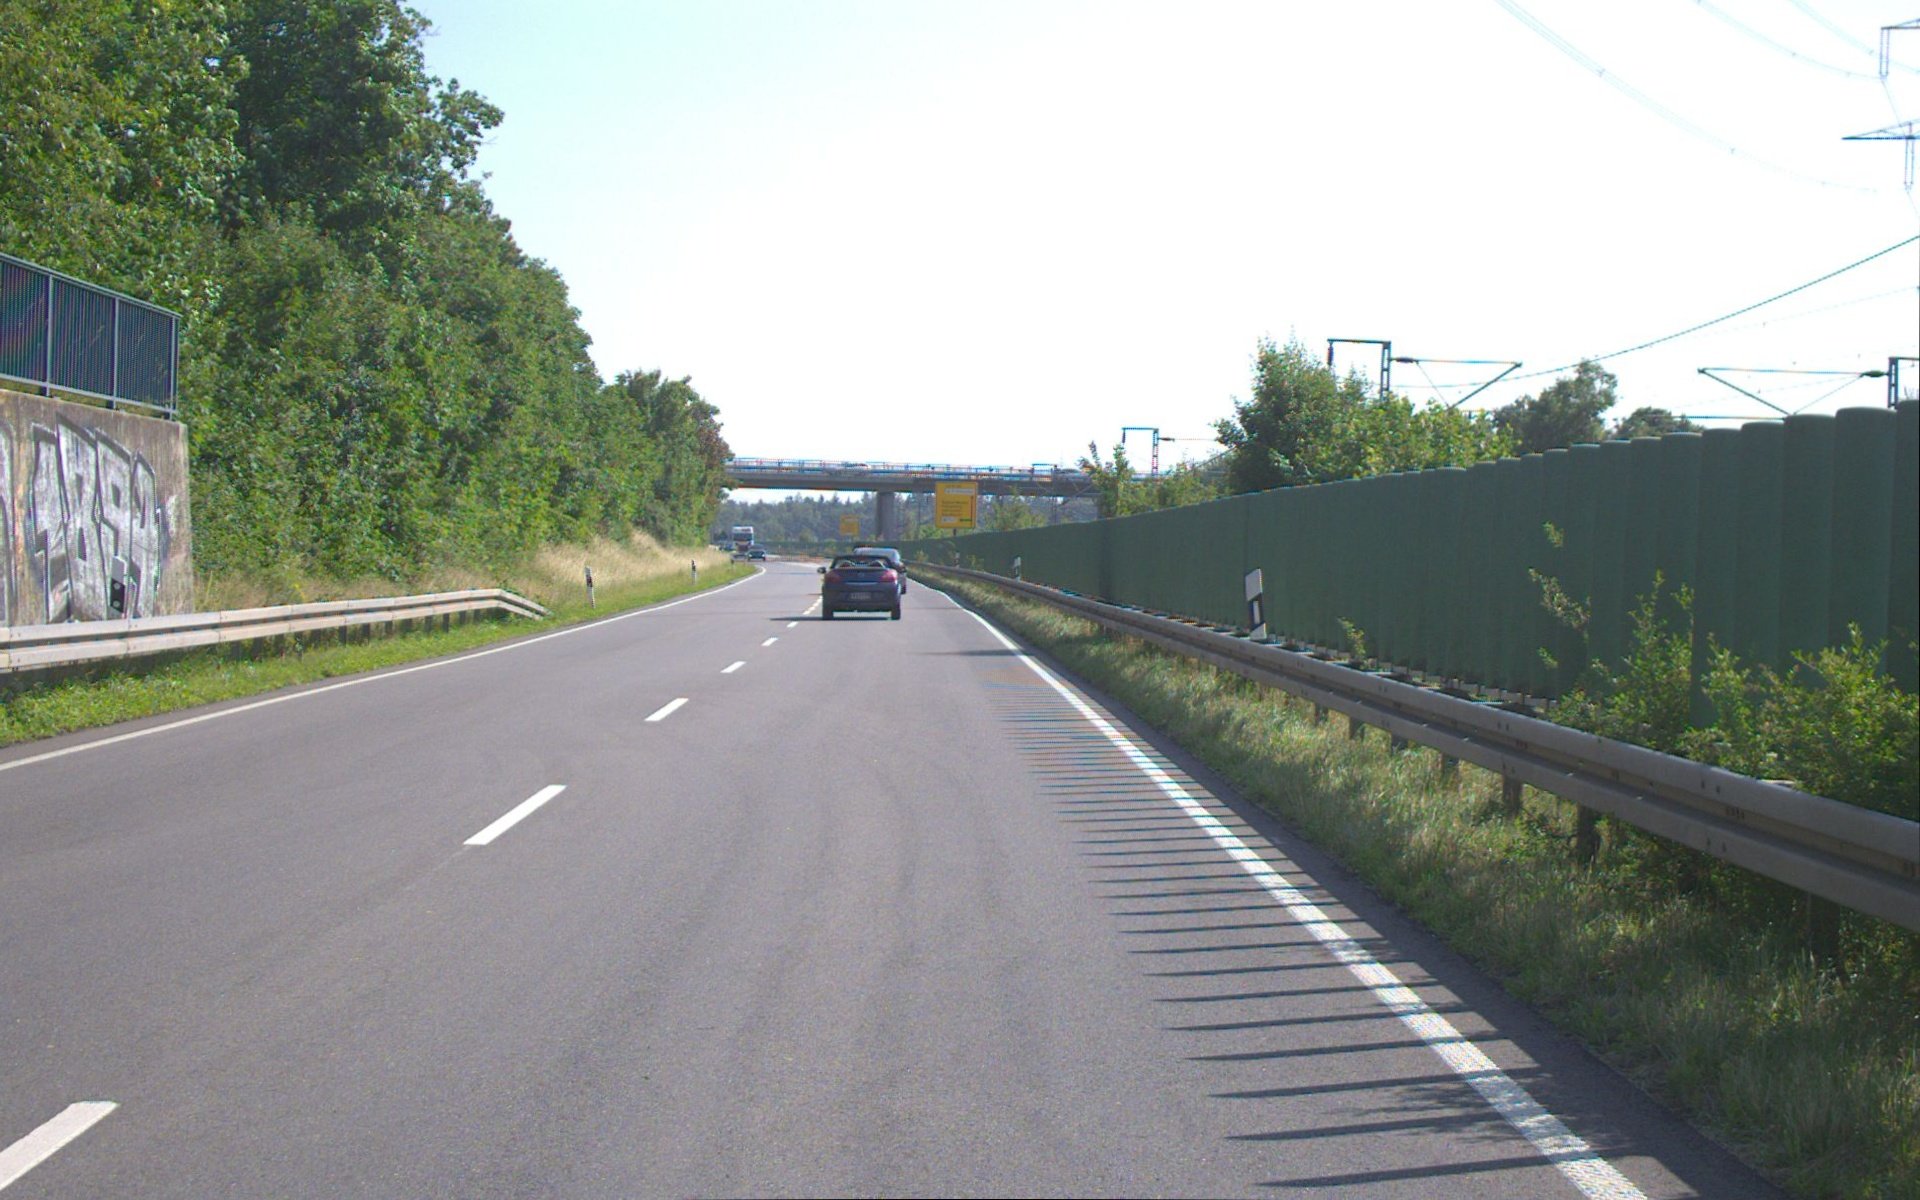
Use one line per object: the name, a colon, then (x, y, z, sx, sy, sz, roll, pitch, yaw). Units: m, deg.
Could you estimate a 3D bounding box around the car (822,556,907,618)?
car: (-2.038, -0.281, 72.502, 1.663, 1.257, 4.001, 1, 1, -3)
